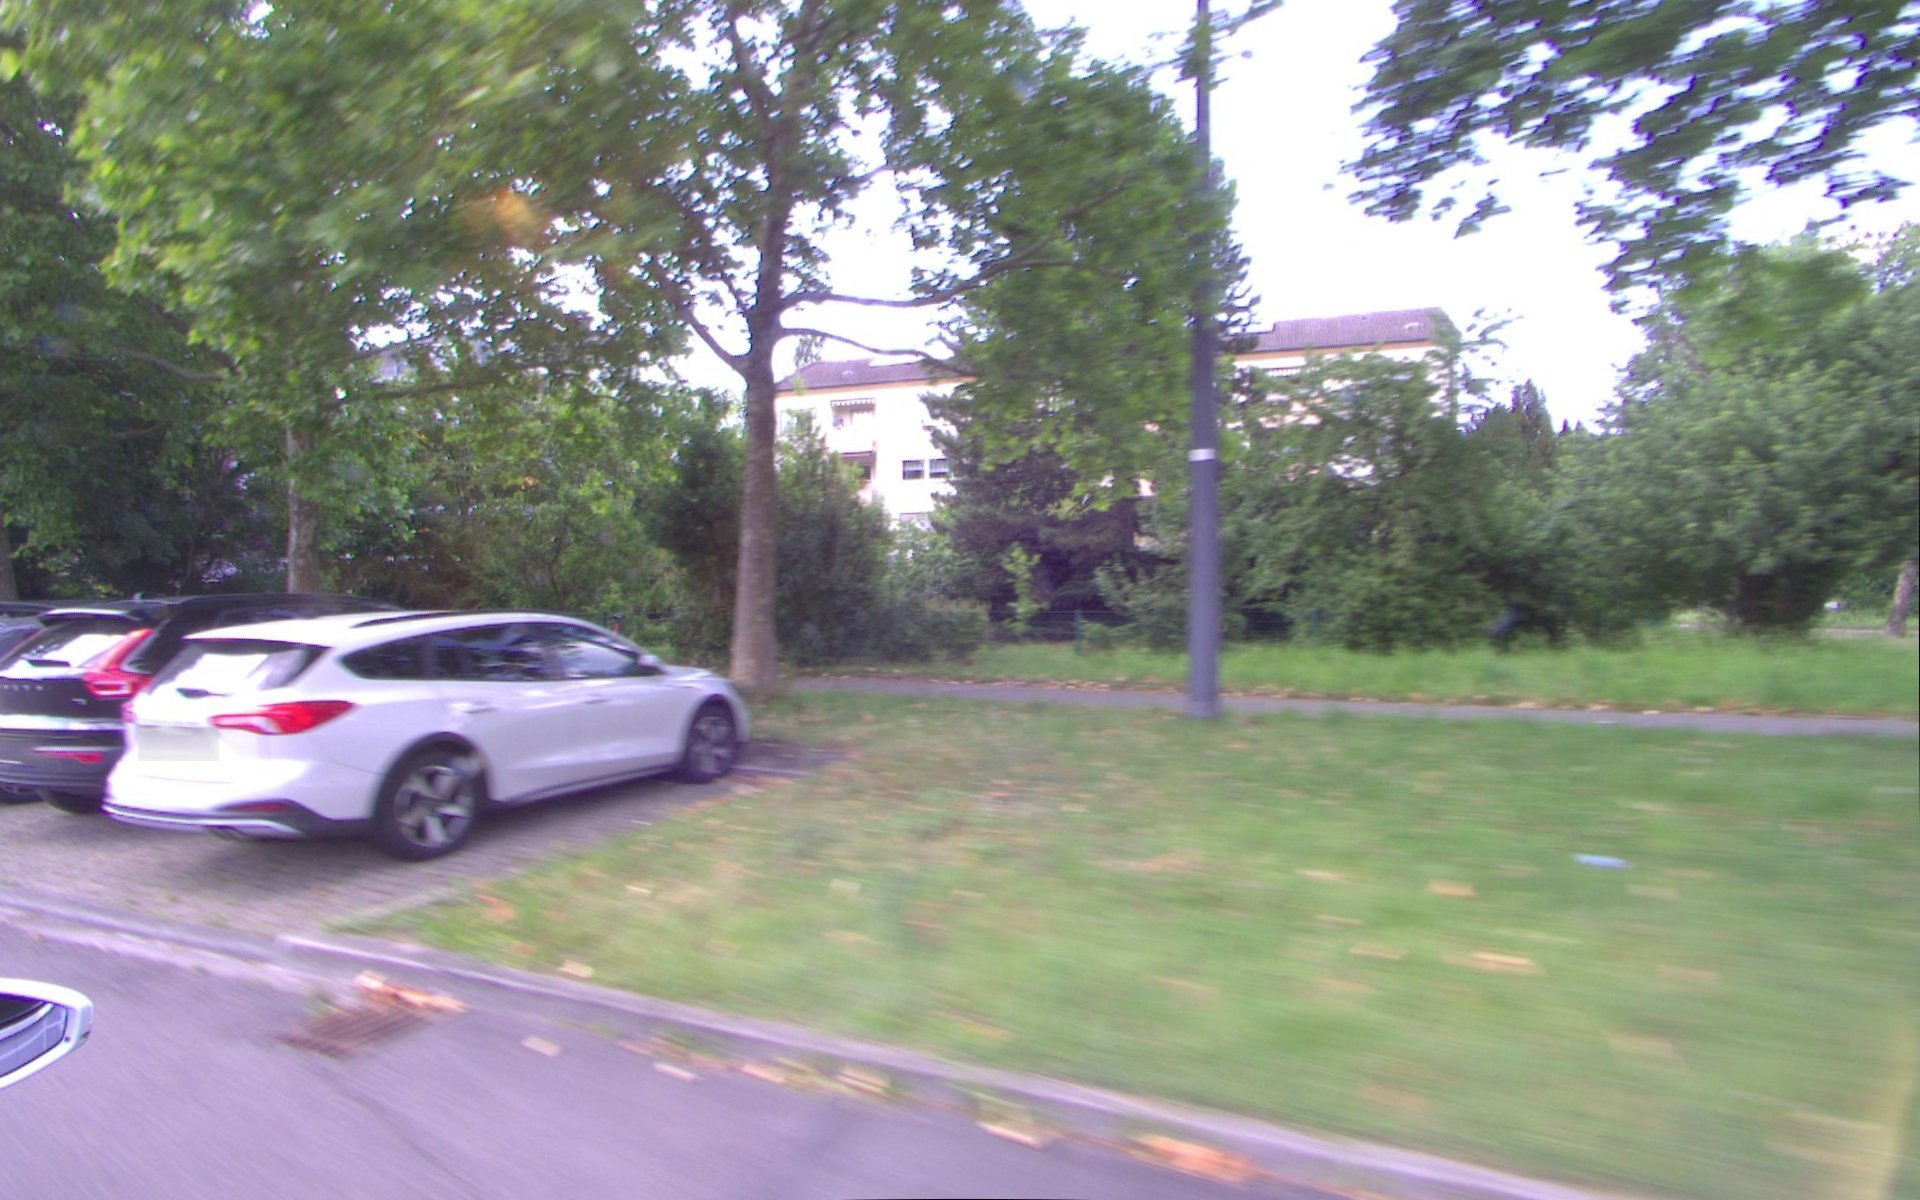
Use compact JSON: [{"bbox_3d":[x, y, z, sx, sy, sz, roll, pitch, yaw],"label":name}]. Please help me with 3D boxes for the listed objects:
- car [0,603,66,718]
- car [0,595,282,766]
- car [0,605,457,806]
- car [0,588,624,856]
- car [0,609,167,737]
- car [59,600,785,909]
[{"bbox_3d":[-14.844,0.886,13.385,1.724,1.627,3.971,-1,1,17],"label":"car"},{"bbox_3d":[-10.041,0.808,10.647,1.729,1.661,4.375,0,1,29],"label":"car"},{"bbox_3d":[-7.477,0.843,9.779,1.729,1.521,4.375,0,1,29],"label":"car"},{"bbox_3d":[-5.272,0.732,8.656,1.817,1.648,4.658,0,1,24],"label":"car"},{"bbox_3d":[-12.436,0.907,12.208,1.728,1.514,3.963,0,1,27],"label":"car"},{"bbox_3d":[-3.391,0.782,7.512,1.817,1.493,4.658,0,1,24],"label":"car"}]
